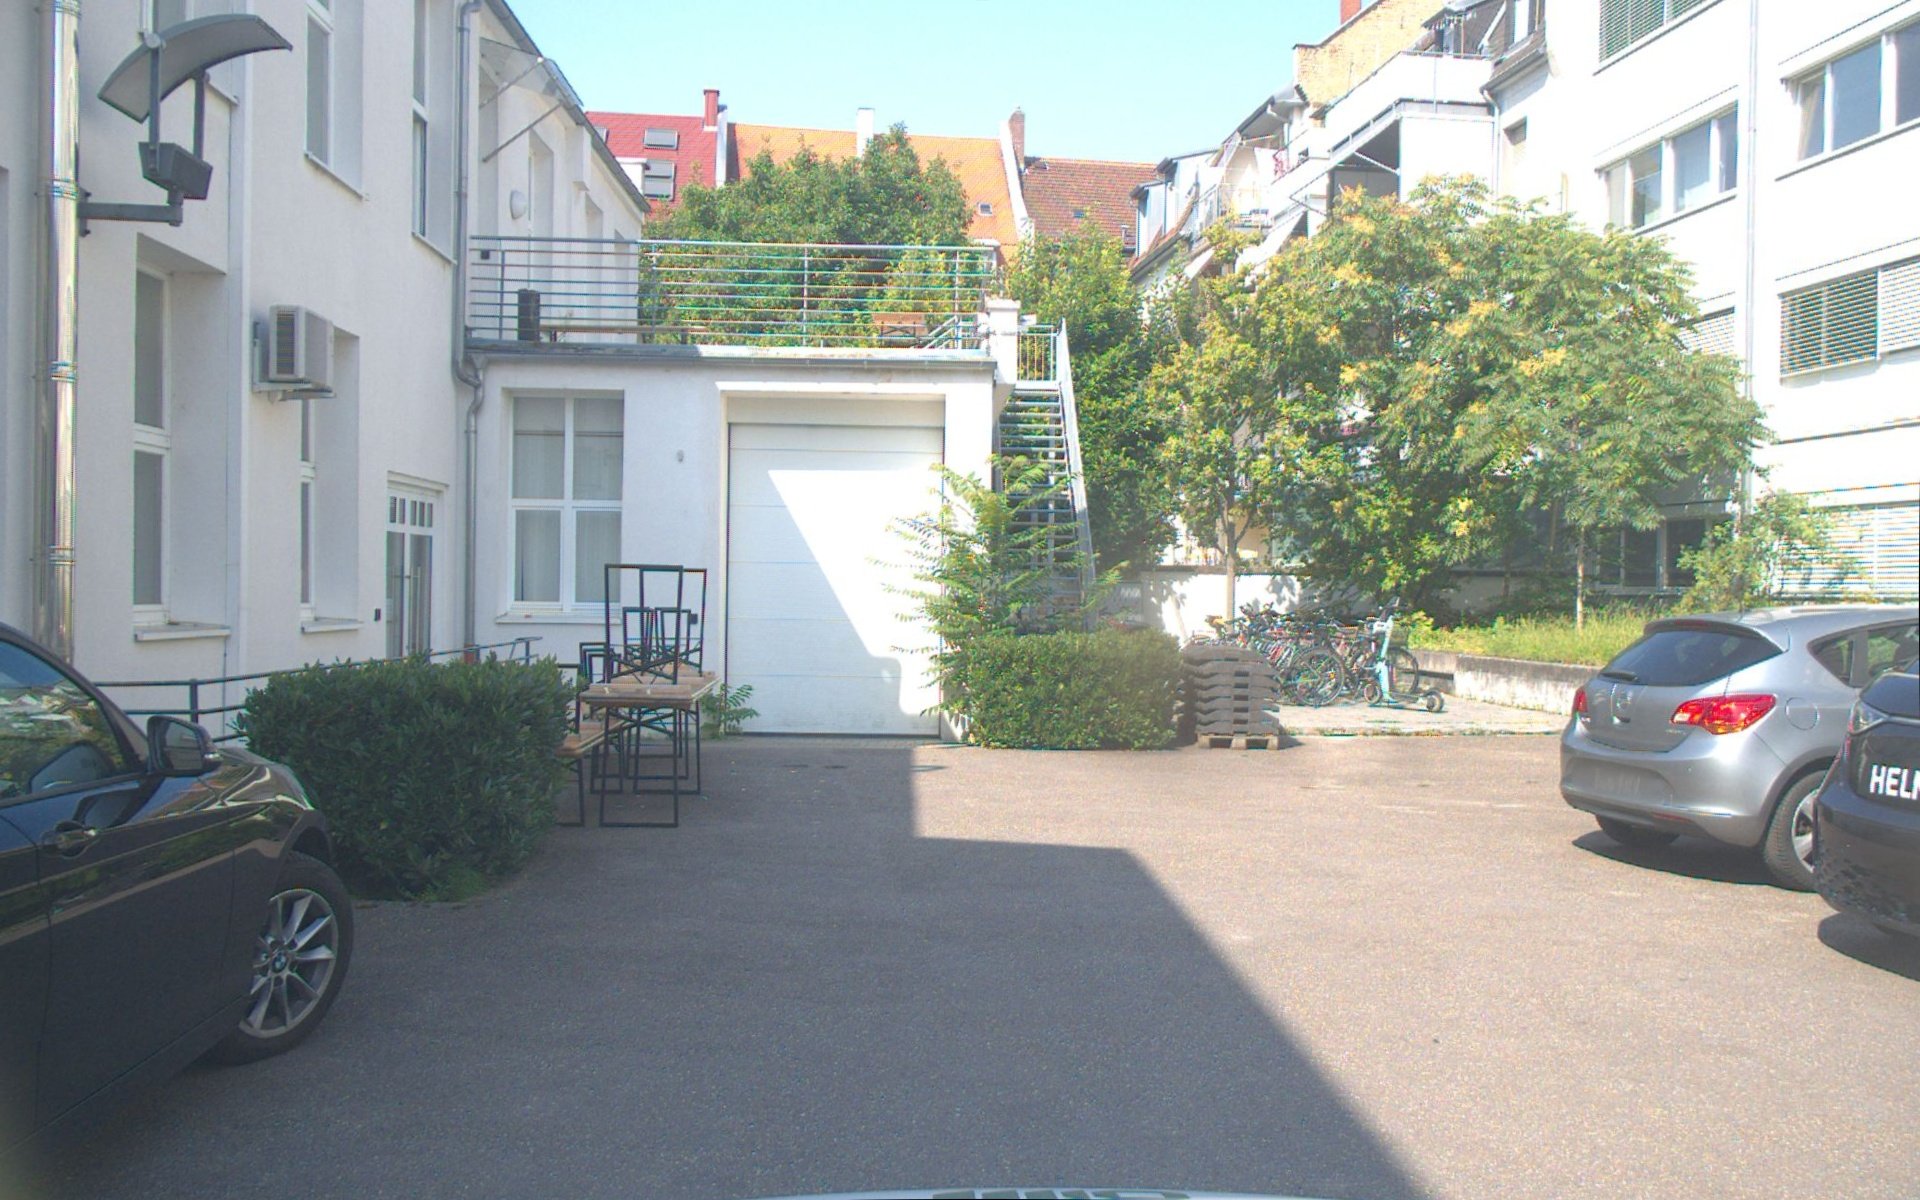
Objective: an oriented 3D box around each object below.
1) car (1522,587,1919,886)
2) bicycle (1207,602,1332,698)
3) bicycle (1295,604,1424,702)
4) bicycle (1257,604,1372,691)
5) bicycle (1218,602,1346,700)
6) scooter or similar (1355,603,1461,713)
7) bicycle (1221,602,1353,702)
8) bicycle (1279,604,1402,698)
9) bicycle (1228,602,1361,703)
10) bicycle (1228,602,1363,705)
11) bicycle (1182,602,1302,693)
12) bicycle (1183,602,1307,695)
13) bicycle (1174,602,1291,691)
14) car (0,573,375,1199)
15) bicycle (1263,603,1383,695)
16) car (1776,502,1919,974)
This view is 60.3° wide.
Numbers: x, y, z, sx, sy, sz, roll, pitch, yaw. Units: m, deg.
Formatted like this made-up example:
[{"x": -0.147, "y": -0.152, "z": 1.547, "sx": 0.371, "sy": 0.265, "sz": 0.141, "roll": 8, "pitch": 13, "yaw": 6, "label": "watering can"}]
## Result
[{"x": 5.478, "y": 0.700, "z": 9.593, "sx": 3.862, "sy": 1.508, "sz": 1.770, "roll": 0, "pitch": -1, "yaw": -11, "label": "car"}, {"x": 4.050, "y": 0.650, "z": 21.667, "sx": 1.588, "sy": 1.235, "sz": 0.327, "roll": 0, "pitch": 0, "yaw": 11, "label": "bicycle"}, {"x": 5.125, "y": 0.668, "z": 21.241, "sx": 1.588, "sy": 1.235, "sz": 0.327, "roll": 0, "pitch": 0, "yaw": 13, "label": "bicycle"}, {"x": 5.069, "y": 0.673, "z": 23.702, "sx": 1.588, "sy": 1.235, "sz": 0.424, "roll": 0, "pitch": 0, "yaw": 10, "label": "bicycle"}, {"x": 4.138, "y": 0.651, "z": 21.305, "sx": 1.588, "sy": 1.235, "sz": 0.327, "roll": 0, "pitch": 0, "yaw": 8, "label": "bicycle"}, {"x": 5.412, "y": 0.676, "z": 20.039, "sx": 0.375, "sy": 1.283, "sz": 1.333, "roll": 0, "pitch": 0, "yaw": -33, "label": "scooter or similar"}, {"x": 4.117, "y": 0.650, "z": 20.854, "sx": 1.590, "sy": 1.235, "sz": 0.327, "roll": 0, "pitch": 0, "yaw": -1, "label": "bicycle"}, {"x": 5.072, "y": 0.669, "z": 22.100, "sx": 1.588, "sy": 1.235, "sz": 0.424, "roll": 0, "pitch": 0, "yaw": 11, "label": "bicycle"}, {"x": 4.155, "y": 0.650, "z": 20.561, "sx": 1.590, "sy": 1.235, "sz": 0.327, "roll": 0, "pitch": 0, "yaw": -1, "label": "bicycle"}, {"x": 4.100, "y": 0.648, "z": 20.237, "sx": 1.590, "sy": 1.235, "sz": 0.327, "roll": 0, "pitch": 0, "yaw": -1, "label": "bicycle"}, {"x": 3.908, "y": 0.651, "z": 22.973, "sx": 1.592, "sy": 1.235, "sz": 0.423, "roll": 0, "pitch": 0, "yaw": -8, "label": "bicycle"}, {"x": 3.845, "y": 0.649, "z": 22.336, "sx": 1.590, "sy": 1.235, "sz": 0.424, "roll": 0, "pitch": 0, "yaw": -3, "label": "bicycle"}, {"x": 3.884, "y": 0.652, "z": 23.575, "sx": 1.592, "sy": 1.235, "sz": 0.423, "roll": 0, "pitch": 0, "yaw": -7, "label": "bicycle"}, {"x": -2.596, "y": 0.679, "z": 3.271, "sx": 1.655, "sy": 1.484, "sz": 3.920, "roll": 1, "pitch": 0, "yaw": -3, "label": "car"}, {"x": 4.961, "y": 0.669, "z": 22.672, "sx": 1.588, "sy": 1.235, "sz": 0.424, "roll": 0, "pitch": 0, "yaw": 10, "label": "bicycle"}, {"x": 5.896, "y": 0.538, "z": 6.722, "sx": 4.420, "sy": 1.826, "sz": 1.878, "roll": 0, "pitch": -1, "yaw": -11, "label": "car"}]
